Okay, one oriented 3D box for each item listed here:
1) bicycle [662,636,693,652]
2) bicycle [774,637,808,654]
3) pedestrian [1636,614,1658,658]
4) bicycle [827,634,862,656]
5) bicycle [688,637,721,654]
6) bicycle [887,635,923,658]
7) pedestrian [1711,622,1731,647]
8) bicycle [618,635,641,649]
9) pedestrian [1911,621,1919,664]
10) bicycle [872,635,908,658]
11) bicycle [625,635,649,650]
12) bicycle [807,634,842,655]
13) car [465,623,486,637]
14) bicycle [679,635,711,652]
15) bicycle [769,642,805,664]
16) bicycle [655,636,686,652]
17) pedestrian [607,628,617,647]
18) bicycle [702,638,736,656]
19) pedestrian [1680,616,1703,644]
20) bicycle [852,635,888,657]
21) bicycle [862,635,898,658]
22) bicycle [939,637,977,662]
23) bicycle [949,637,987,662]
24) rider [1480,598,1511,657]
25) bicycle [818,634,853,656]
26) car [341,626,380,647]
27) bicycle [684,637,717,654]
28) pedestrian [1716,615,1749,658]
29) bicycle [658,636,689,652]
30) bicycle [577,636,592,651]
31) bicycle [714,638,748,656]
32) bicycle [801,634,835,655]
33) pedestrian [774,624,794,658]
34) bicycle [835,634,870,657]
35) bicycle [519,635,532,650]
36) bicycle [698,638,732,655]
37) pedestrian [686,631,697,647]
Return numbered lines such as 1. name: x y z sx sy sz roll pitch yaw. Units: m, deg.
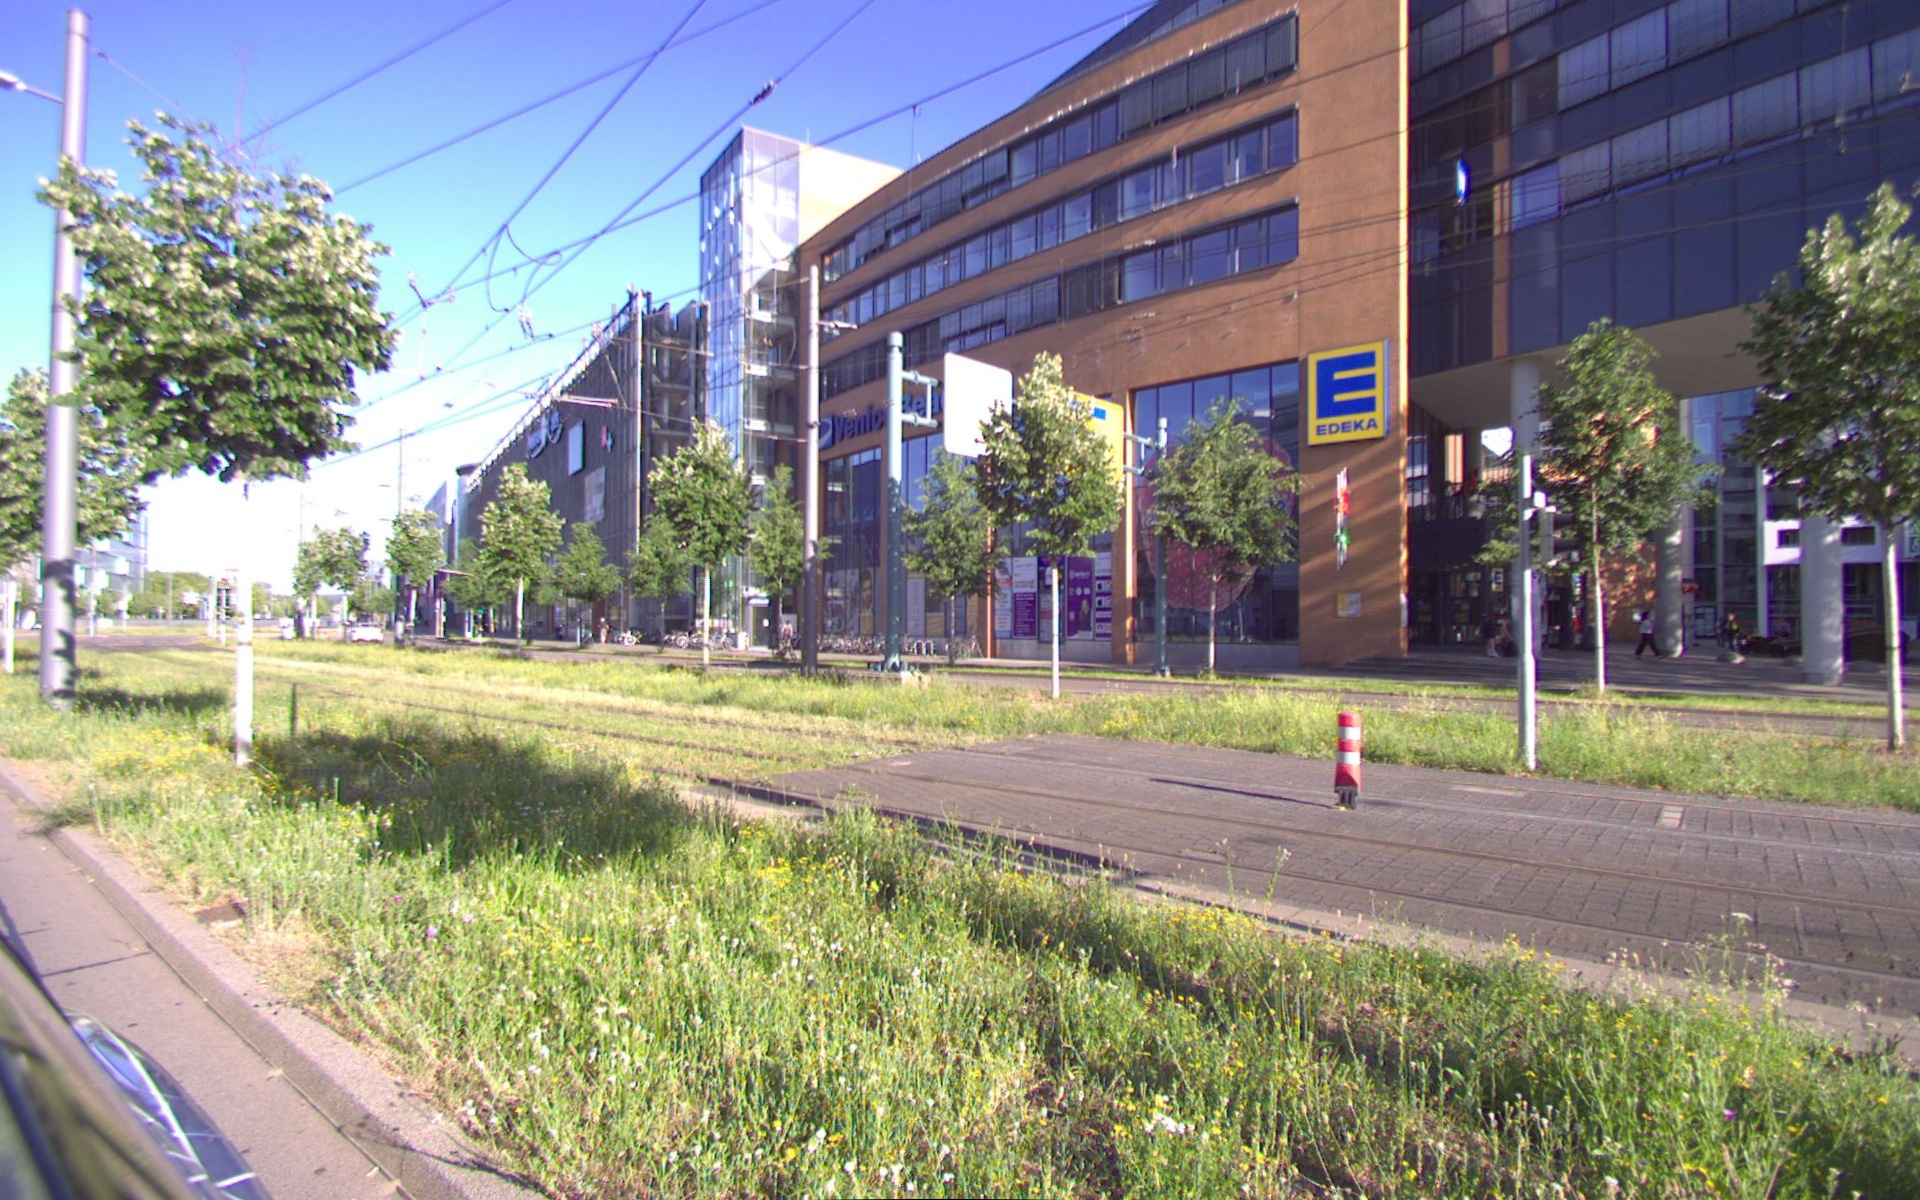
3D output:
1. bicycle: -17.182 2.687 61.508 1.741 0.933 0.566 1 -2 -33
2. bicycle: -9.367 2.513 56.057 1.741 0.933 0.566 1 -2 -33
3. pedestrian: 23.199 1.207 34.171 0.572 1.491 0.447 -1 -1 41
4. bicycle: -5.701 2.222 49.937 1.744 1.057 0.491 1 -2 -42
5. bicycle: -14.529 2.596 57.615 1.741 0.933 0.566 1 -2 -33
6. bicycle: -2.545 2.170 47.252 1.744 1.057 0.491 1 -2 -42
7. pedestrian: 40.667 1.829 54.098 0.627 1.287 0.664 0 0 -32
8. bicycle: -22.031 2.785 67.540 1.377 0.933 0.463 1 -2 -33
9. pedestrian: 39.534 1.739 41.107 0.778 1.720 1.113 0 0 -32
10. bicycle: -3.268 2.180 47.423 1.744 1.057 0.491 1 -2 -42
11. bicycle: -21.173 2.769 66.350 1.377 0.933 0.463 1 -2 -33
12. bicycle: -6.851 2.242 51.232 1.744 1.057 0.491 1 -2 -42
13. car: -56.760 3.524 118.493 1.559 1.541 3.759 0 0 -37
14. bicycle: -15.563 2.556 59.419 1.741 0.933 0.492 1 -2 -33
15. bicycle: -7.169 2.177 41.828 1.771 0.875 0.458 -1 -2 42
16. bicycle: -17.884 2.712 62.579 1.741 0.933 0.492 1 -2 -33
17. pedestrian: -24.005 2.577 69.772 0.442 1.299 0.631 1 -2 -36
18. bicycle: -13.270 2.572 55.735 1.741 0.933 0.566 1 -2 -33
19. pedestrian: 39.360 1.620 54.433 1.038 1.491 0.660 0 0 -32
20. bicycle: -4.304 2.198 48.482 1.744 1.057 0.491 1 -2 -42
21. bicycle: -3.790 2.189 47.968 1.744 1.057 0.491 1 -2 -42
22. bicycle: -0.084 2.125 43.833 1.744 1.057 0.491 1 -2 -42
23. bicycle: 0.342 2.118 43.412 1.744 1.057 0.491 1 -2 -42
24. rider: 16.839 0.861 31.823 0.712 1.816 0.710 -1 -2 42
25. bicycle: -6.201 2.230 50.432 1.744 1.057 0.491 1 -2 -42
26. car: -39.583 2.379 66.754 1.782 1.338 4.415 2 -2 -36
27. bicycle: -14.915 2.603 58.219 1.741 0.933 0.566 1 -2 -33
28. pedestrian: 31.543 1.496 41.316 0.778 1.720 0.810 0 0 -32
29. bicycle: -17.554 2.694 62.083 1.741 0.933 0.492 1 -2 -33
30. bicycle: -22.722 2.641 61.206 0.380 0.875 1.775 1 -2 -36
31. bicycle: -12.424 2.558 54.944 1.741 0.933 0.566 1 -2 -33
32. bicycle: -7.238 2.249 51.649 1.744 1.057 0.491 1 -2 -42
33. pedestrian: -8.989 2.083 51.667 0.736 1.681 0.676 1 -2 -43
34. bicycle: -5.235 2.214 49.424 1.744 1.057 0.491 1 -2 -42
35. bicycle: -27.411 2.664 63.828 0.380 0.930 1.775 1 -2 -36
36. bicycle: -13.658 2.580 56.441 1.741 0.933 0.566 1 -2 -33
37. pedestrian: -17.923 2.594 67.602 0.619 1.063 0.450 1 -2 -36
